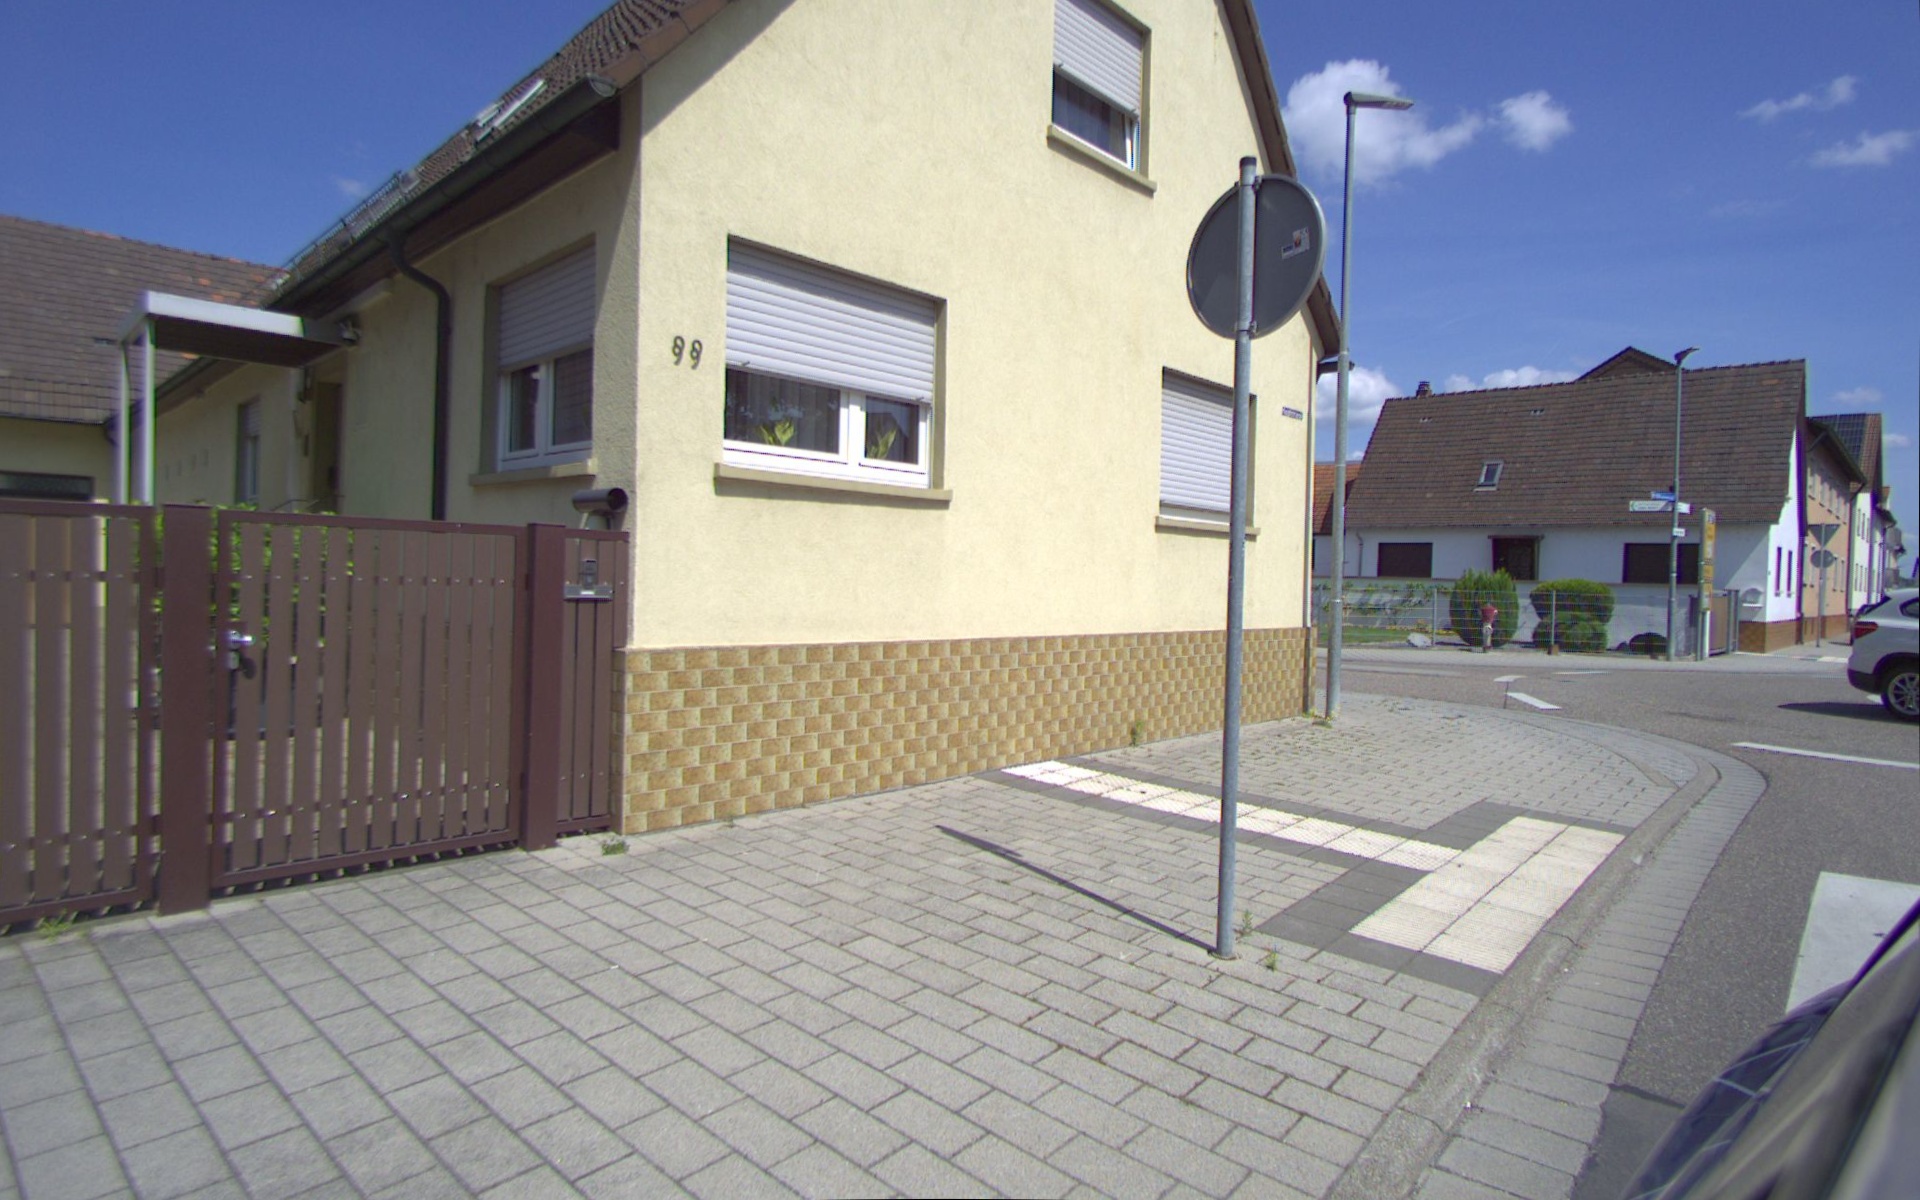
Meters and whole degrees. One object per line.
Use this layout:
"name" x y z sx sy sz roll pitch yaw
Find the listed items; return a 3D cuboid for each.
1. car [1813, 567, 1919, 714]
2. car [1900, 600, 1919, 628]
"car" 11.963 0.493 10.645 1.808 1.666 4.382 1 1 -11
"car" 51.385 0.764 53.917 1.761 1.446 4.121 3 2 44
